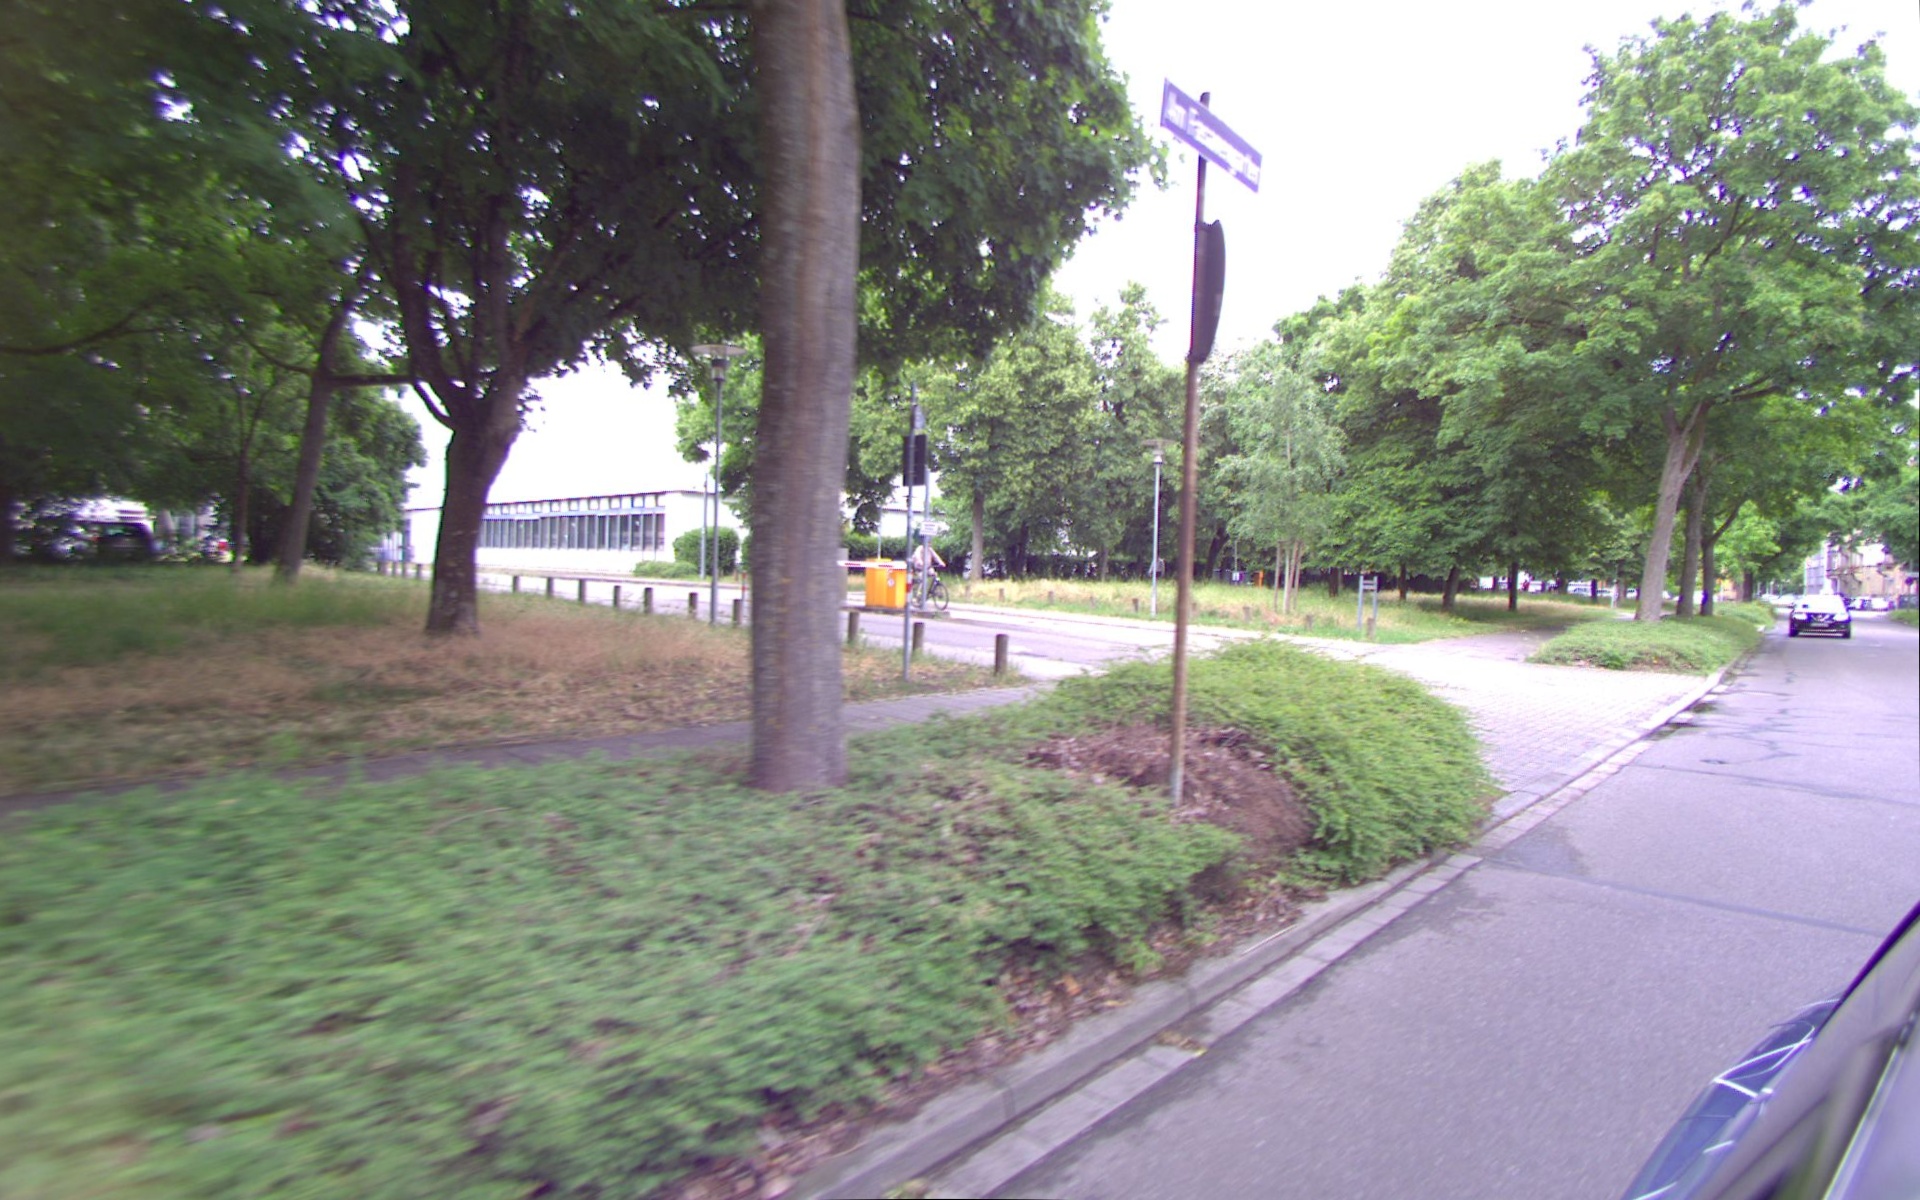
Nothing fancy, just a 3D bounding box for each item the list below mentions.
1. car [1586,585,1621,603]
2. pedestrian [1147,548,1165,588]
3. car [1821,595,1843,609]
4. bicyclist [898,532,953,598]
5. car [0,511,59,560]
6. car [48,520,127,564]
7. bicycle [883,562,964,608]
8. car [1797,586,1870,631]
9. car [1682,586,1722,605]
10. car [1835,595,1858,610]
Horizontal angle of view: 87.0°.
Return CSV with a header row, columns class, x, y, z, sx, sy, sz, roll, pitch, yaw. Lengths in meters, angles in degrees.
class,x,y,z,sx,sy,sz,roll,pitch,yaw
car,72.724,-0.714,114.471,3.290,1.948,1.790,2,1,33
pedestrian,9.141,-1.477,47.223,0.562,1.820,0.543,1,2,-37
car,121.185,0.246,140.635,1.774,1.882,3.617,4,2,34
bicyclist,-0.889,-0.899,26.166,0.921,1.665,1.004,4,3,44
car,-39.258,-2.648,42.193,3.982,1.905,1.971,2,1,40
car,-37.722,-2.476,43.722,3.982,1.783,1.971,2,2,40
bicycle,-0.960,-0.401,26.204,0.855,1.088,2.136,0,3,-45
car,33.909,0.285,39.232,1.993,1.504,4.472,2,3,42
car,80.048,-0.454,109.230,3.290,1.948,1.790,2,1,33
car,115.494,0.270,131.874,1.774,1.786,3.617,4,2,34
